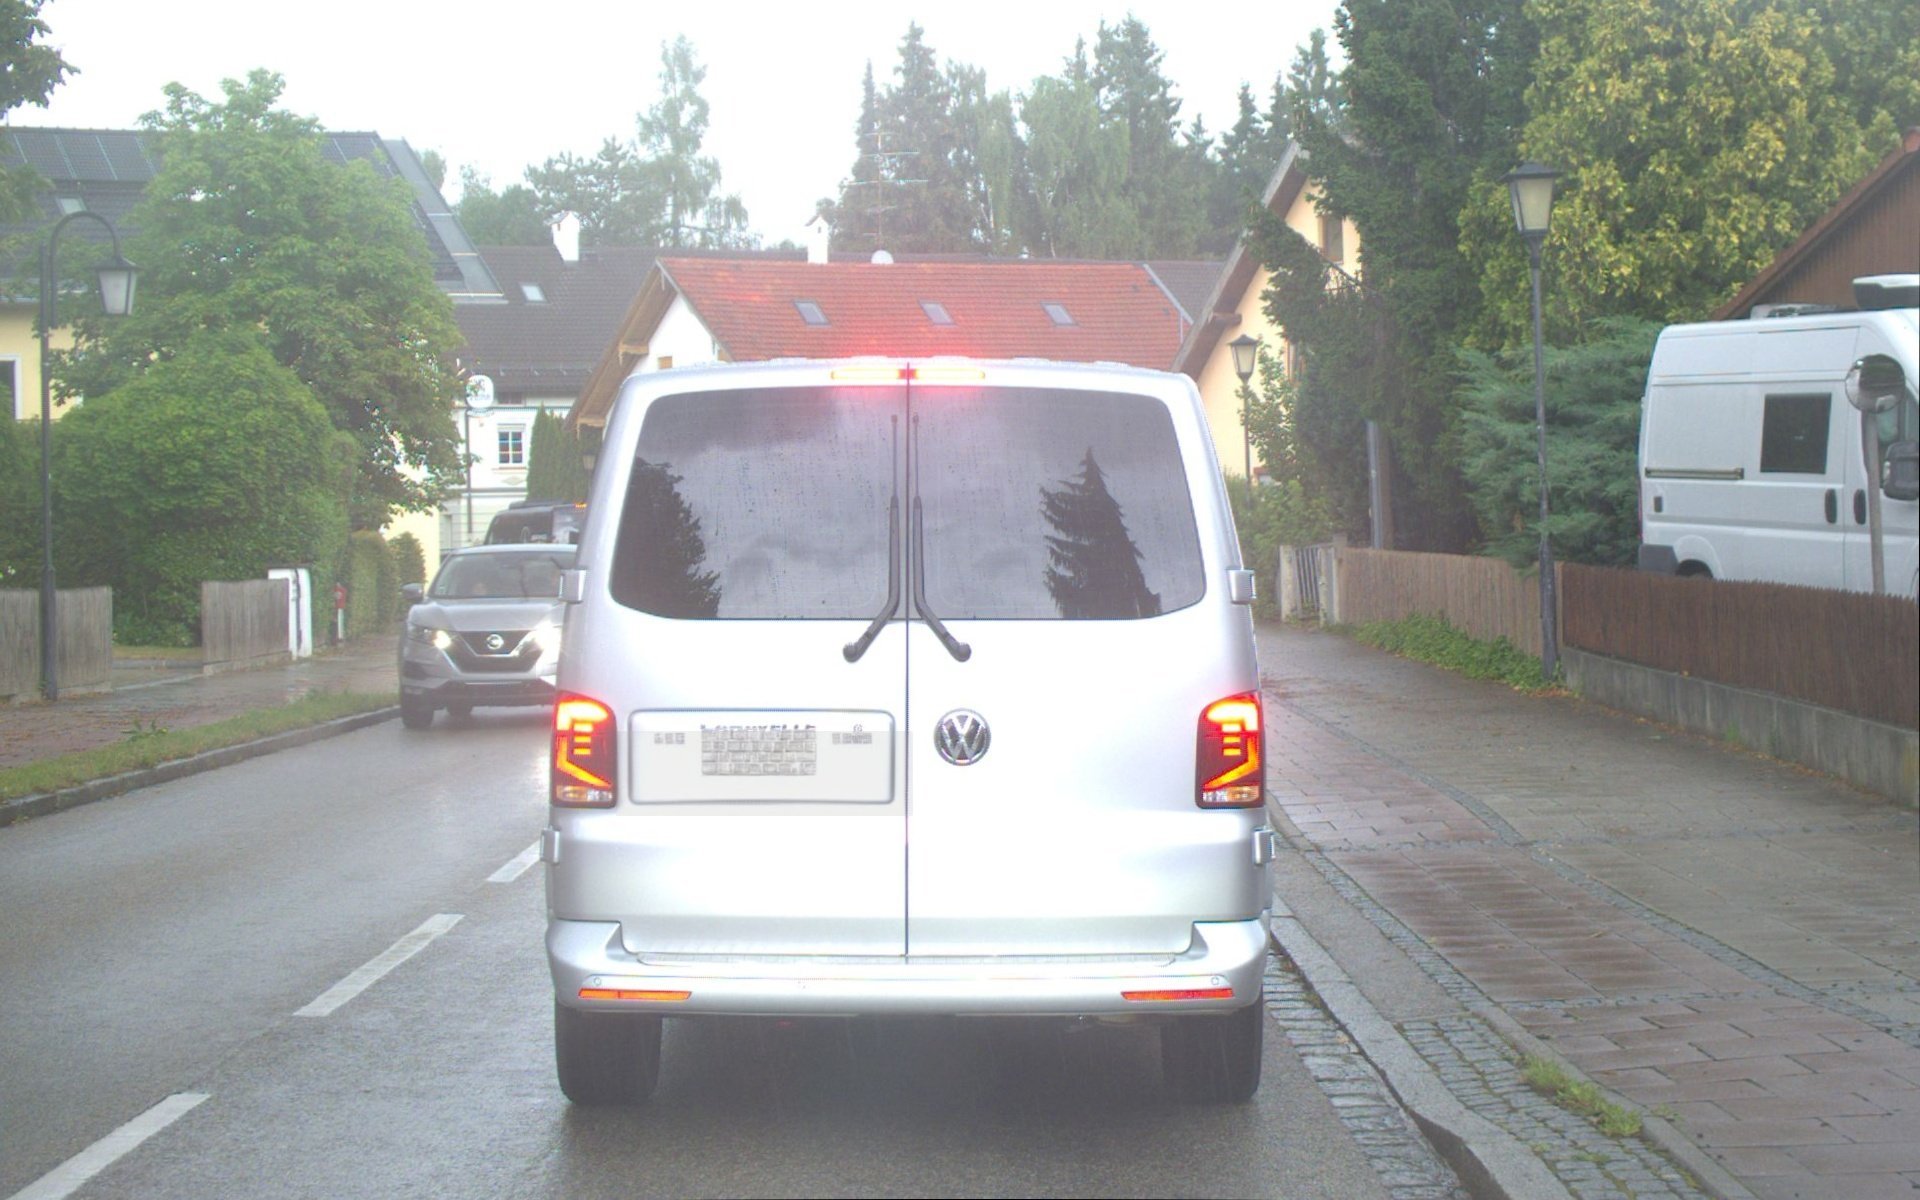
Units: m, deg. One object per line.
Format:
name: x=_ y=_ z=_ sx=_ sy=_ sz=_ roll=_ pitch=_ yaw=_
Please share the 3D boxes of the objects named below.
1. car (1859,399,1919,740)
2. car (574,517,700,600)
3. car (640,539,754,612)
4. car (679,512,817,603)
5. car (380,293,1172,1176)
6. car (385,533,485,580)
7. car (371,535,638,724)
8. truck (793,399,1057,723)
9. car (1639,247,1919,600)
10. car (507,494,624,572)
car: x=6.949 y=-0.198 z=17.834 sx=4.093 sy=1.745 sz=1.695 roll=-1 pitch=3 yaw=-3
car: x=-8.121 y=-1.041 z=86.142 sx=1.993 sy=2.007 sz=4.001 roll=1 pitch=0 yaw=-23
car: x=-4.990 y=-0.467 z=64.942 sx=1.779 sy=1.306 sz=3.777 roll=1 pitch=0 yaw=-10
car: x=-4.923 y=-0.969 z=79.203 sx=1.993 sy=2.007 sz=4.001 roll=1 pitch=0 yaw=-22
car: x=-0.352 y=0.300 z=9.958 sx=1.801 sy=2.007 sz=4.000 roll=1 pitch=0 yaw=2
car: x=-15.545 y=-1.286 z=101.623 sx=1.780 sy=1.306 sz=3.776 roll=1 pitch=0 yaw=-28
car: x=-3.997 y=0.237 z=30.787 sx=1.827 sy=1.553 sz=4.177 roll=-1 pitch=0 yaw=0
truck: x=-0.364 y=-0.385 z=36.140 sx=2.475 sy=3.063 sz=6.296 roll=1 pitch=0 yaw=-1
car: x=6.504 y=-1.085 z=22.827 sx=1.993 sy=2.166 sz=4.954 roll=1 pitch=0 yaw=-13
car: x=-10.713 y=-1.801 z=93.064 sx=1.993 sy=2.007 sz=4.001 roll=1 pitch=0 yaw=-24
